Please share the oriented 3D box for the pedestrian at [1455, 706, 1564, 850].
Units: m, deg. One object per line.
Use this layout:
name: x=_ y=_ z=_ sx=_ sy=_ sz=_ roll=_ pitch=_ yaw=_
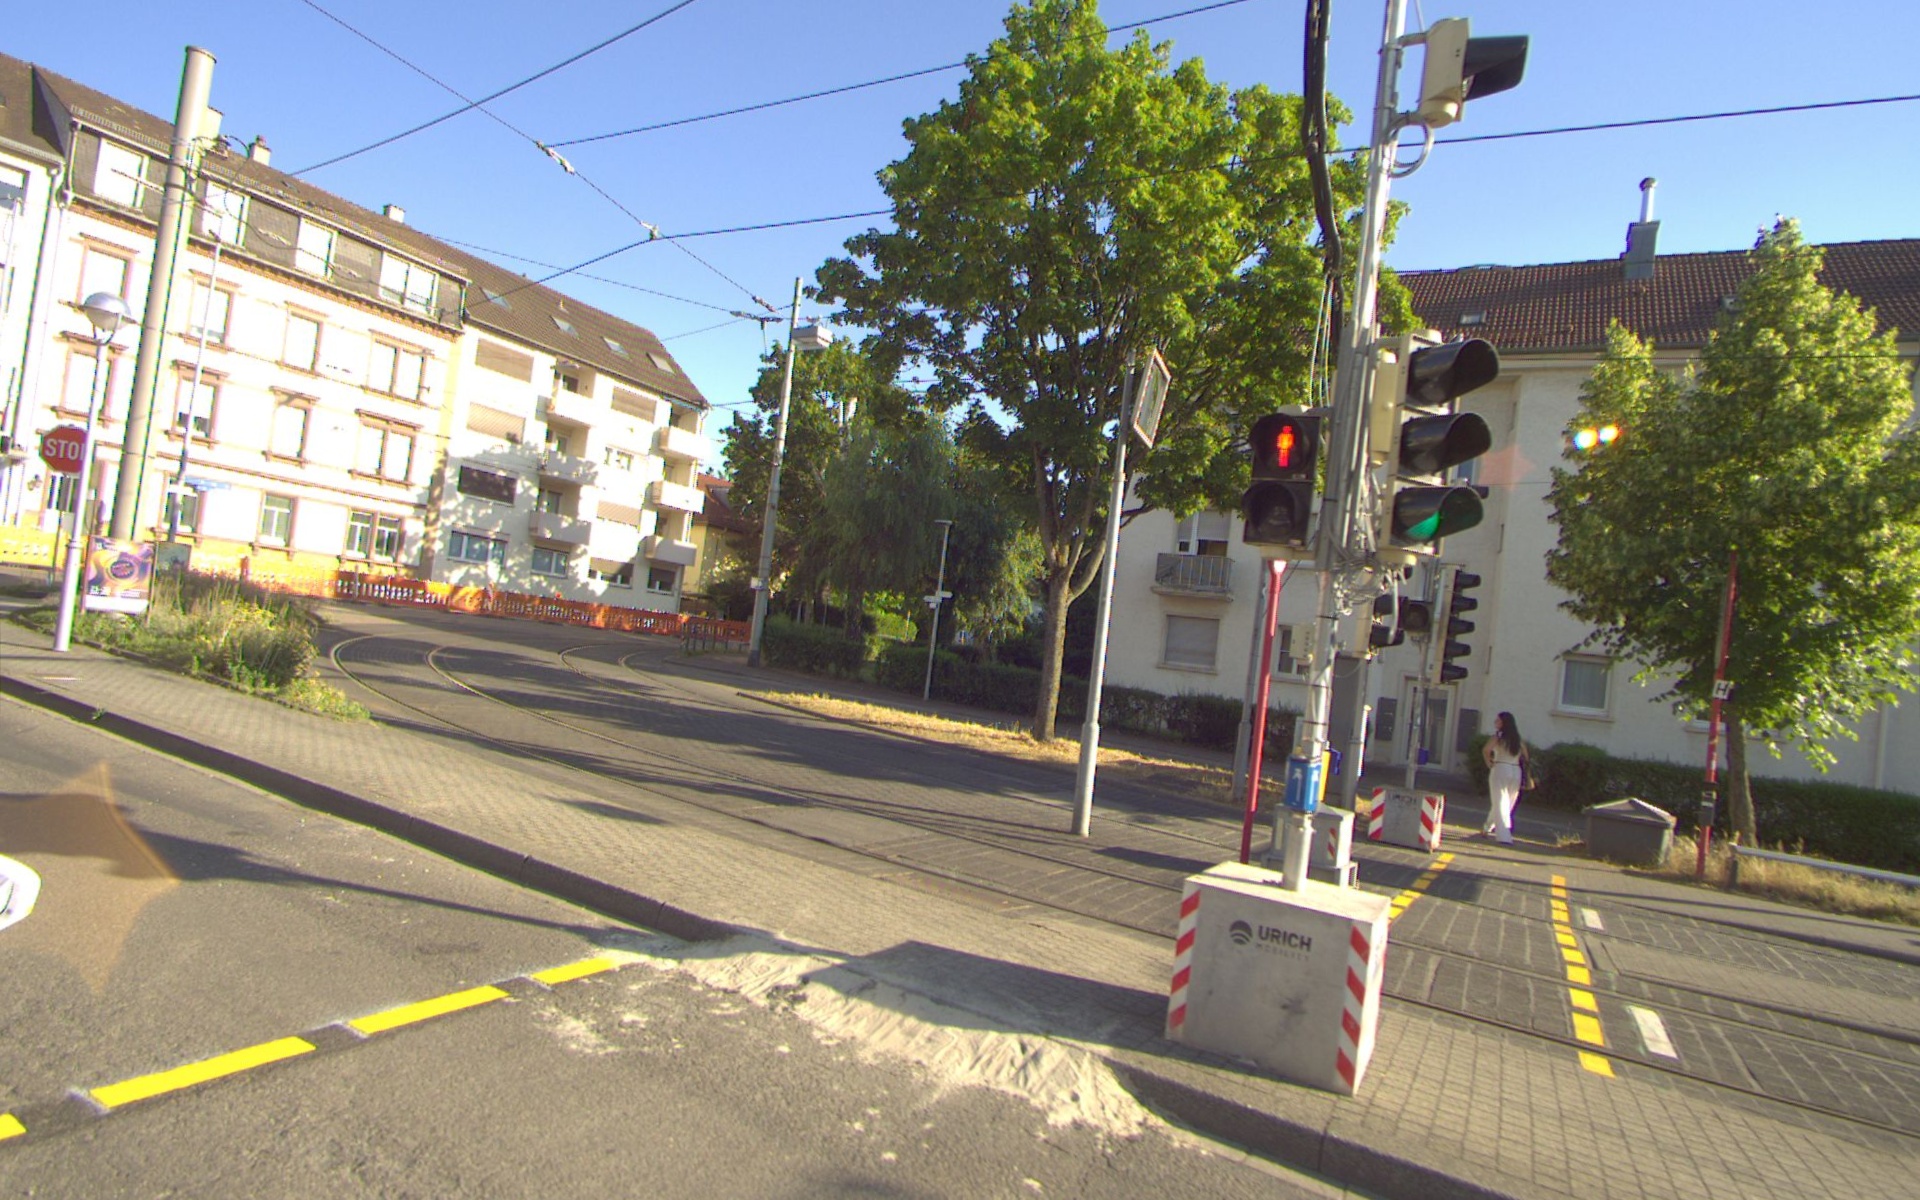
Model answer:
pedestrian: x=7.035 y=2.254 z=12.912 sx=0.811 sy=1.639 sz=0.792 roll=7 pitch=-1 yaw=2
